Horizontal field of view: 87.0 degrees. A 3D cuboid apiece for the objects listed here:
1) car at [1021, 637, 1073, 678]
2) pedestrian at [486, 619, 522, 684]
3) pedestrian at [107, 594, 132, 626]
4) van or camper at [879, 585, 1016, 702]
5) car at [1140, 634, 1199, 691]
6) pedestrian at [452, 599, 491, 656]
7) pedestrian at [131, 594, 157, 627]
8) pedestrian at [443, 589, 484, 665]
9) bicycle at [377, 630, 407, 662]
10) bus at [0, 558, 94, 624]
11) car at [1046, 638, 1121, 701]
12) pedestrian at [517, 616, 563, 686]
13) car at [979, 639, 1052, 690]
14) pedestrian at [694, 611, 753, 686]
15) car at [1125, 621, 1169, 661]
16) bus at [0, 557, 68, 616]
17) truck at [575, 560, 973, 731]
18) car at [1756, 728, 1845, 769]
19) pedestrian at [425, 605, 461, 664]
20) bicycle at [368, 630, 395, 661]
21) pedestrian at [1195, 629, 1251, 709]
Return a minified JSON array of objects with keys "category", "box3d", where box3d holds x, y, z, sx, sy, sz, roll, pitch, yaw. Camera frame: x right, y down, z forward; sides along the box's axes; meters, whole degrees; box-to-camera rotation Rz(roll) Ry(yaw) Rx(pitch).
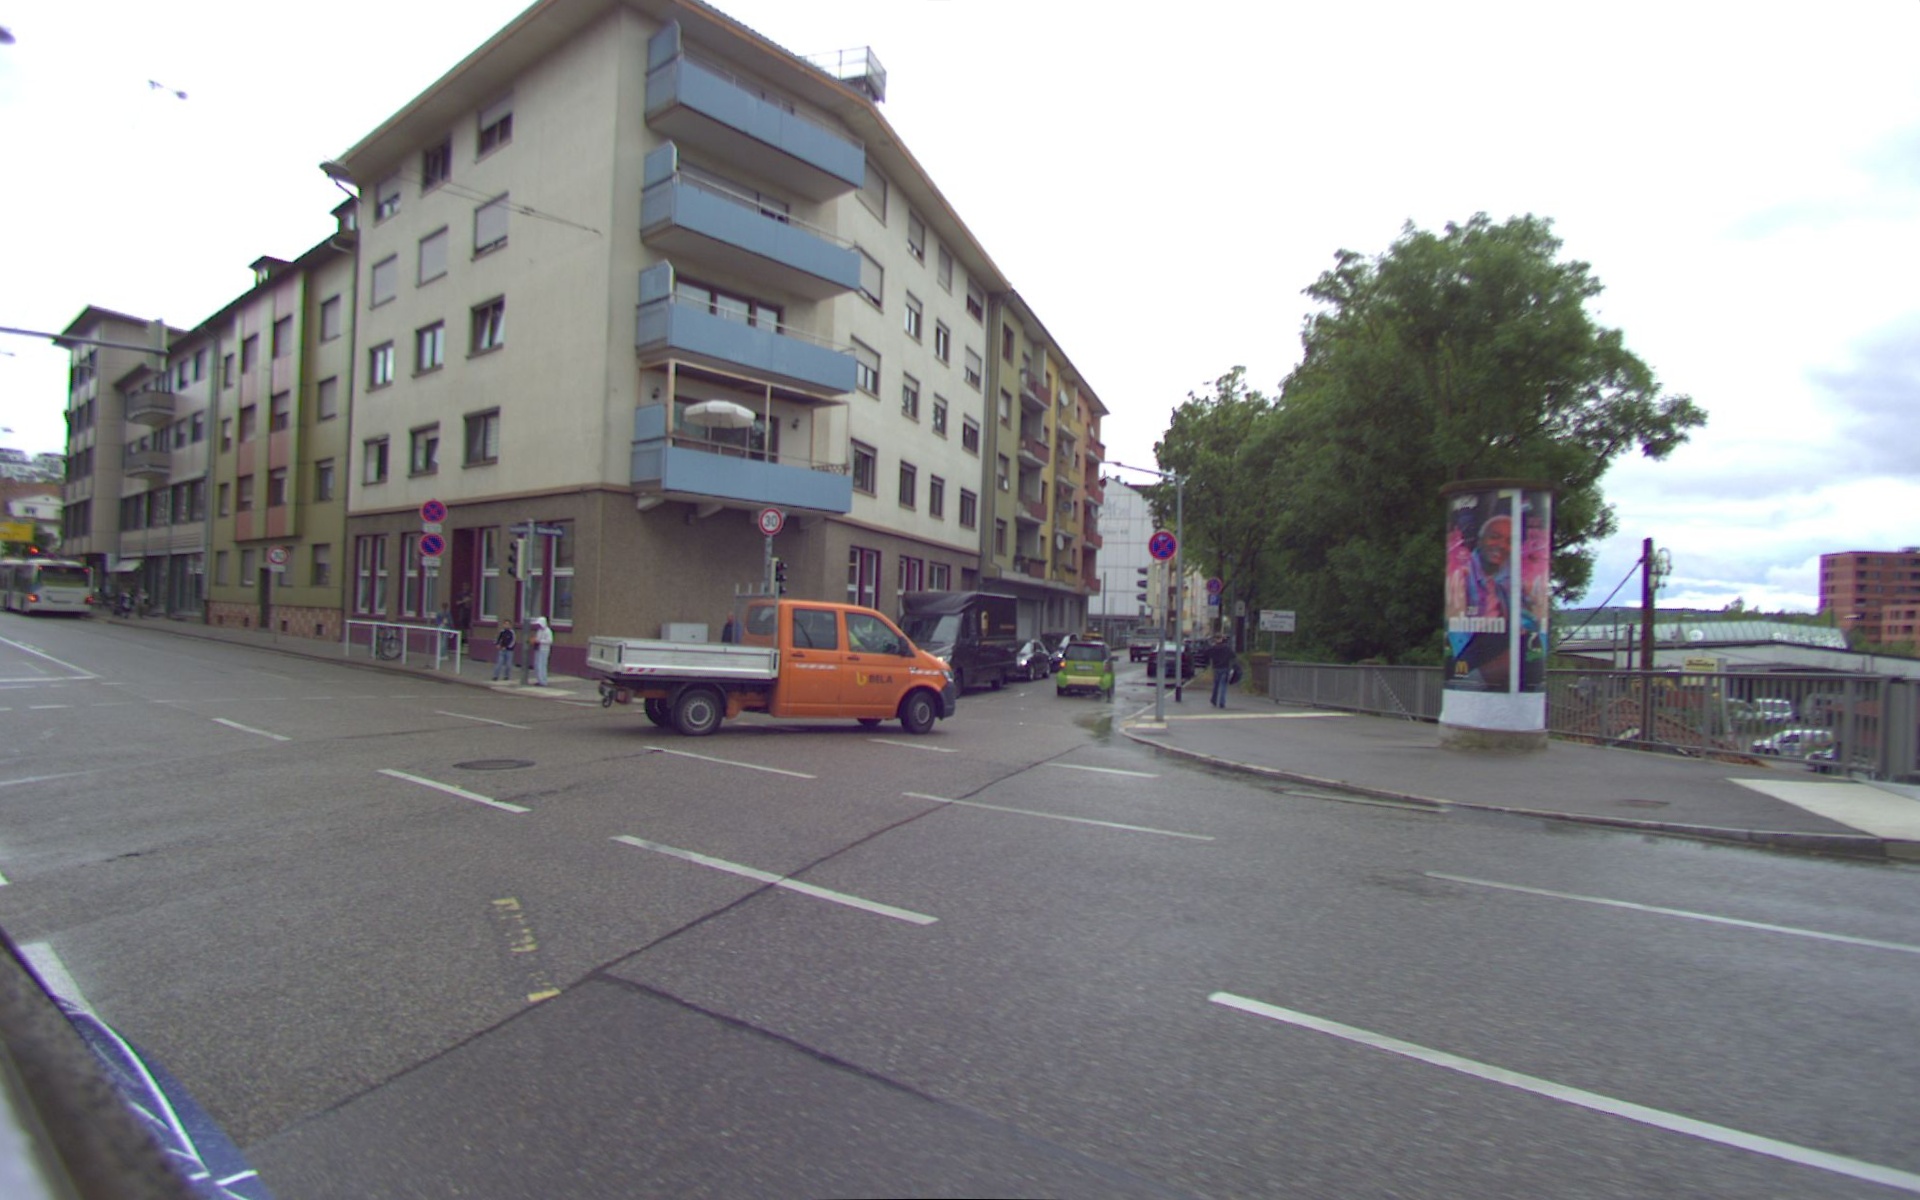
[{"category":"car","box3d":[3.684,2.371,42.353,1.849,1.510,3.692,3,-1,9]},{"category":"pedestrian","box3d":[-10.415,1.163,23.102,0.649,1.398,0.539,2,2,43]},{"category":"pedestrian","box3d":[-42.349,0.522,51.007,0.711,1.546,0.791,2,-1,41]},{"category":"van or camper","box3d":[-0.148,1.133,28.000,1.982,2.750,6.450,3,-1,15]},{"category":"car","box3d":[8.557,2.477,41.059,1.982,2.029,3.979,3,-1,16]},{"category":"pedestrian","box3d":[-13.861,0.789,28.704,0.588,1.589,0.765,2,-1,41]},{"category":"pedestrian","box3d":[-41.538,0.512,51.524,0.711,1.627,0.828,2,-1,41]},{"category":"pedestrian","box3d":[-14.235,0.764,29.011,0.729,2.115,0.705,2,-1,38]},{"category":"bicycle","box3d":[-15.801,1.270,28.145,1.421,0.789,0.261,2,-1,42]},{"category":"bus","box3d":[-49.574,-0.563,54.784,9.290,3.212,2.697,2,-1,41]},{"category":"car","box3d":[3.643,1.932,29.217,1.806,1.528,3.985,3,-1,11]},{"category":"pedestrian","box3d":[-9.179,1.100,22.119,0.660,1.468,0.636,2,-1,40]},{"category":"car","box3d":[2.002,2.194,35.280,1.852,1.510,3.686,3,-1,14]},{"category":"pedestrian","box3d":[-5.830,1.192,24.975,1.022,1.766,0.920,2,-1,43]},{"category":"car","box3d":[10.440,2.246,56.409,1.982,2.029,3.979,3,-1,16]},{"category":"bus","box3d":[-55.564,-0.858,60.078,8.909,3.212,2.729,2,-1,41]},{"category":"truck","box3d":[-2.710,0.684,14.990,5.223,2.145,2.415,3,-1,-29]},{"category":"car","box3d":[54.088,9.527,65.199,3.979,2.029,1.982,2,-1,26]},{"category":"pedestrian","box3d":[-14.072,0.938,27.545,0.739,1.565,0.569,2,-1,38]},{"category":"bicycle","box3d":[-15.948,1.251,27.883,1.111,0.789,0.261,2,-1,42]},{"category":"pedestrian","box3d":[6.169,1.588,23.790,1.050,1.770,1.070,3,-1,7]}]
